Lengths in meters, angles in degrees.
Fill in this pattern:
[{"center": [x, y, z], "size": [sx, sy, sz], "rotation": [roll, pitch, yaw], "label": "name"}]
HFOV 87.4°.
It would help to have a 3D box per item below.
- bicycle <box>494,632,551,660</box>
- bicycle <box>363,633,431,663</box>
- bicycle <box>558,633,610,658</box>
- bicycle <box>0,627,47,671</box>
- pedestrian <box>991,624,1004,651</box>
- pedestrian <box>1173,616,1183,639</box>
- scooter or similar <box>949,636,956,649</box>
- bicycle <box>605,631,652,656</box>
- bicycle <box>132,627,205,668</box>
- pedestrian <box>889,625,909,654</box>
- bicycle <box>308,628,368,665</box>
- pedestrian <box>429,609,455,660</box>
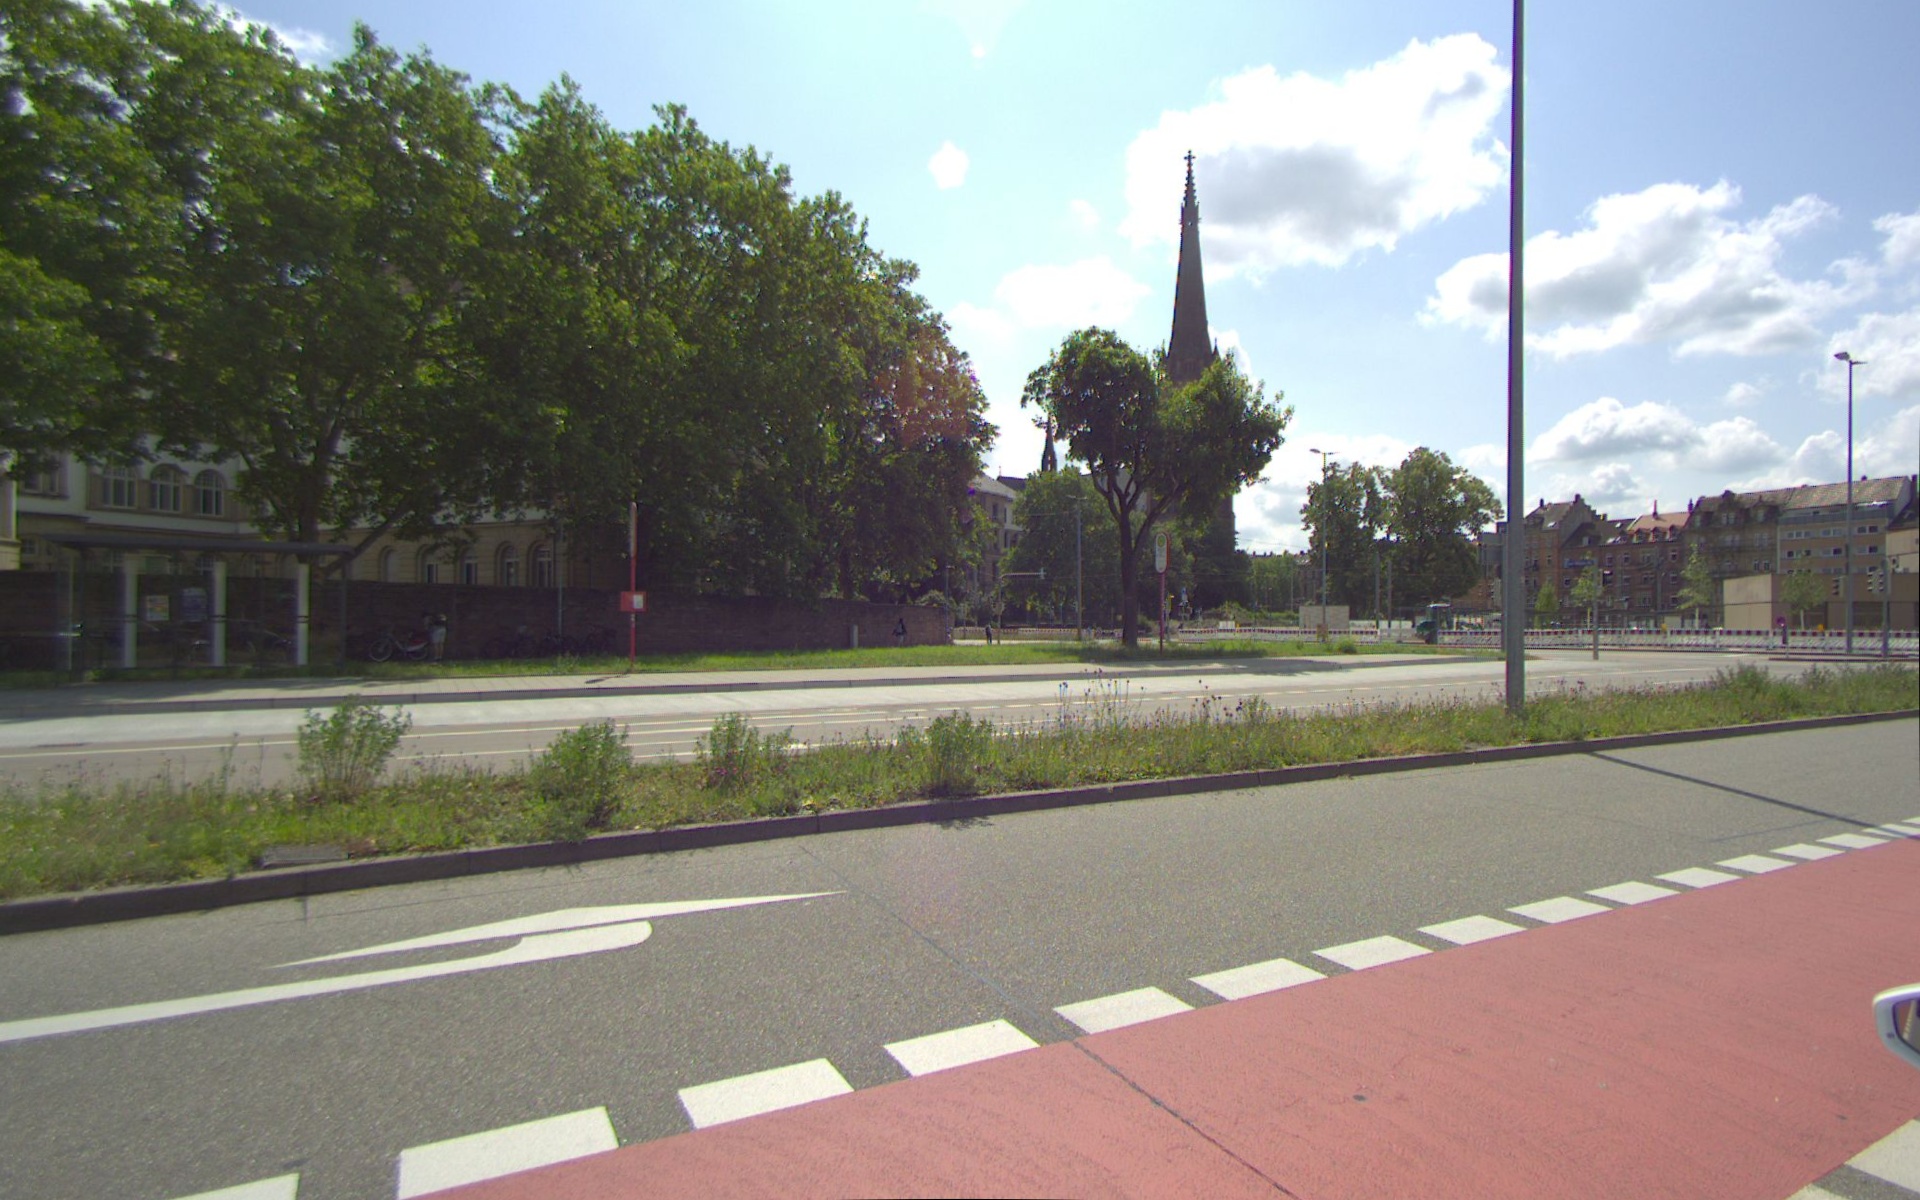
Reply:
[{"center": [-14.011, 1.462, 32.199], "size": [0.378, 0.828, 1.743], "rotation": [0, -1, 36], "label": "bicycle"}, {"center": [-16.230, 1.380, 29.013], "size": [0.324, 0.828, 1.743], "rotation": [0, -1, 36], "label": "bicycle"}, {"center": [-12.771, 1.536, 34.155], "size": [0.324, 0.828, 1.743], "rotation": [0, -1, 36], "label": "bicycle"}, {"center": [-21.247, 1.091, 22.324], "size": [0.260, 0.977, 1.391], "rotation": [0, -1, 36], "label": "bicycle"}, {"center": [2.788, 2.795, 74.742], "size": [0.713, 2.040, 0.721], "rotation": [1, -1, -32], "label": "pedestrian"}, {"center": [19.298, 2.428, 88.906], "size": [0.642, 2.040, 0.626], "rotation": [1, -1, -35], "label": "pedestrian"}, {"center": [-0.431, 2.476, 58.984], "size": [0.117, 0.721, 1.005], "rotation": [0, -1, 17], "label": "scooter or similar"}, {"center": [-11.767, 1.531, 35.682], "size": [0.324, 0.828, 1.743], "rotation": [0, -1, 36], "label": "bicycle"}, {"center": [-19.408, 1.158, 24.645], "size": [0.260, 0.977, 1.391], "rotation": [0, -1, 36], "label": "bicycle"}, {"center": [-2.974, 1.917, 48.980], "size": [0.720, 1.413, 0.714], "rotation": [1, -1, -35], "label": "pedestrian"}, {"center": [-17.150, 1.265, 27.716], "size": [0.260, 0.977, 1.391], "rotation": [0, -1, 36], "label": "bicycle"}, {"center": [-15.153, 1.005, 29.375], "size": [0.627, 1.492, 0.506], "rotation": [1, -1, -32], "label": "pedestrian"}]
